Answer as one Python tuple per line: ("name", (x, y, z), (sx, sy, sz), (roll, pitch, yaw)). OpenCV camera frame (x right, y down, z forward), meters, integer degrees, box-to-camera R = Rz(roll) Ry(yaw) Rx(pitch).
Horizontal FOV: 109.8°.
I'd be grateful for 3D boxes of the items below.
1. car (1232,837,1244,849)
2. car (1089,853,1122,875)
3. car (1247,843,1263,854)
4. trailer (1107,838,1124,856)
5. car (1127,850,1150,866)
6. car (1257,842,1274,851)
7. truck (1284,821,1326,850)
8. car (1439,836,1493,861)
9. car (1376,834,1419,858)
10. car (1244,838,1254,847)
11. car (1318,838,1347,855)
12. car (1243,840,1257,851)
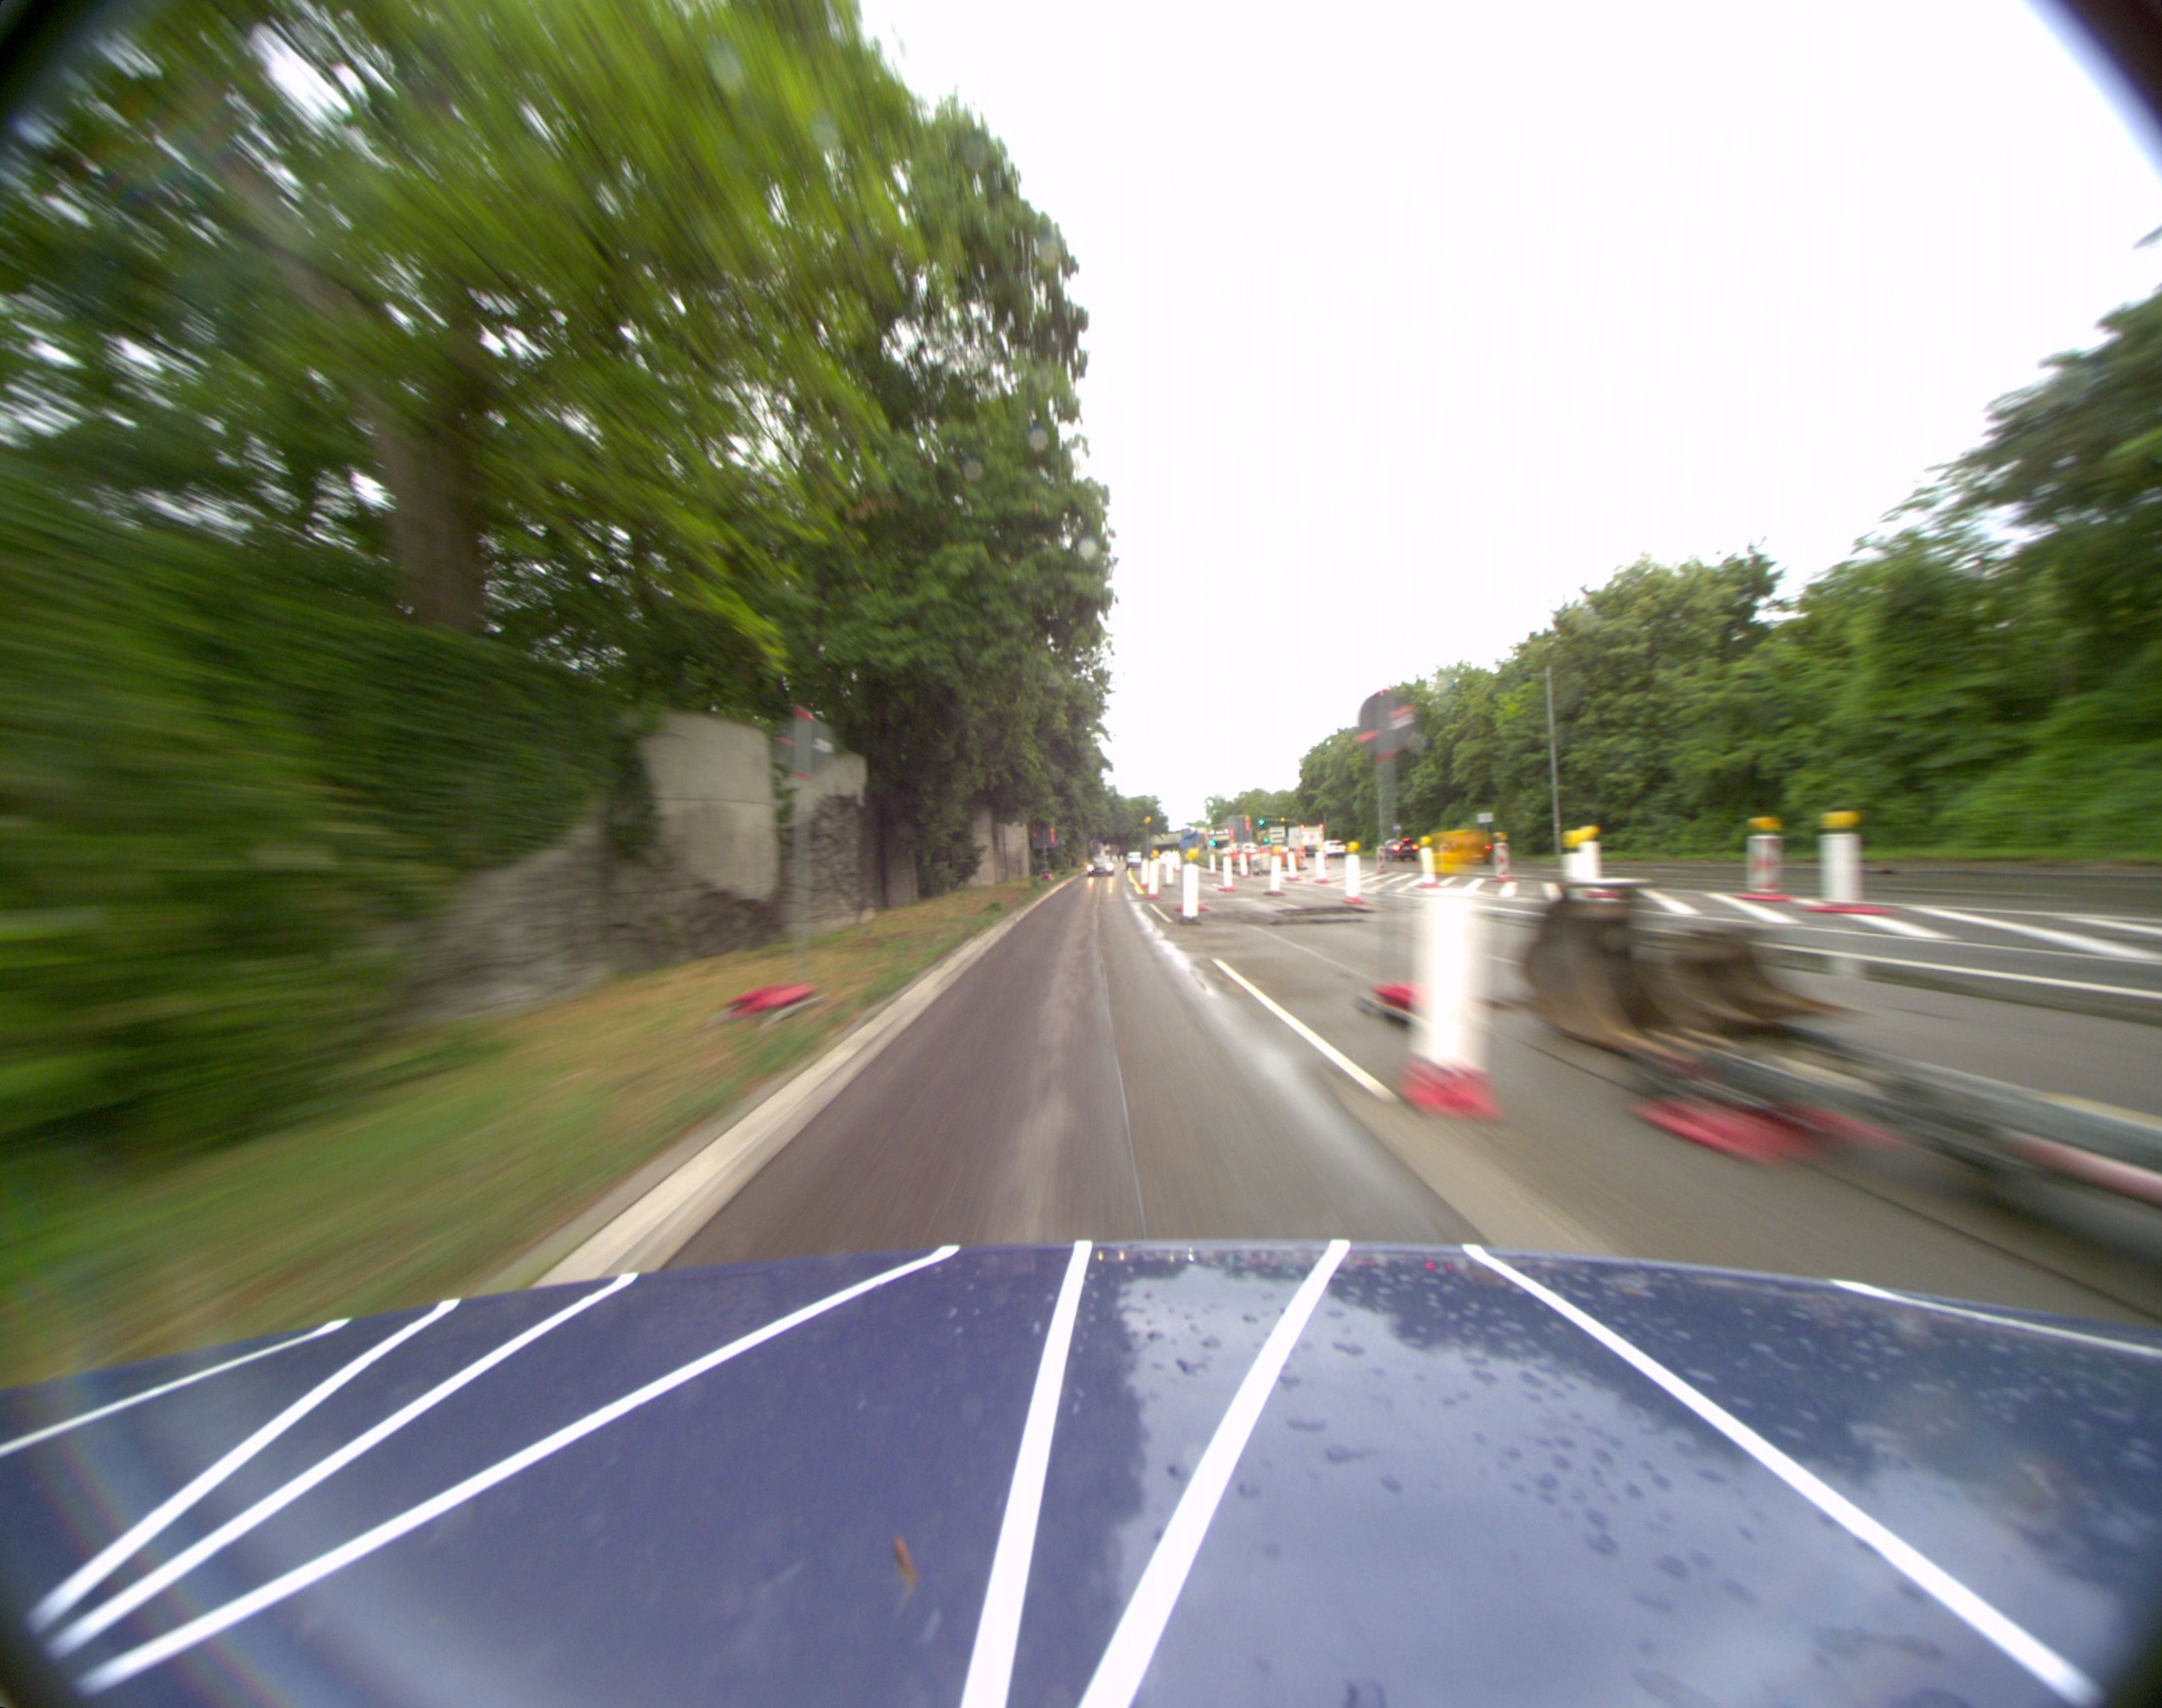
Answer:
("car", (35.362, -2.469, 171.129), (2.199, 2.376, 6.248), (-4, -1, 8))
("car", (1.809, 0.716, 54.663), (1.696, 1.393, 3.828), (-3, 0, 11))
("car", (27.276, -0.889, 118.990), (1.839, 1.541, 4.041), (-3, 0, 5))
("trailer", (7.346, -1.547, 160.086), (2.311, 3.568, 5.964), (-2, 1, 13))
("car", (5.497, 0.374, 71.913), (1.696, 1.300, 3.828), (-3, 0, 11))
("car", (25.387, -1.068, 104.799), (1.609, 1.145, 4.284), (-3, 0, 5))
("truck", (27.202, -2.173, 92.779), (2.801, 3.130, 10.150), (-3, 0, 5))
("car", (23.128, -0.318, 45.725), (1.529, 1.449, 3.540), (-1, 0, 2))
("car", (23.753, -0.586, 57.146), (1.639, 1.637, 4.200), (-2, 0, 3))
("car", (42.013, -2.833, 190.000), (2.038, 1.962, 4.993), (-4, -1, 8))
("car", (26.155, -0.814, 79.152), (1.848, 1.713, 4.721), (1, 0, 5))
("car", (32.026, -1.617, 144.284), (1.918, 1.771, 4.835), (-3, 0, 4))
